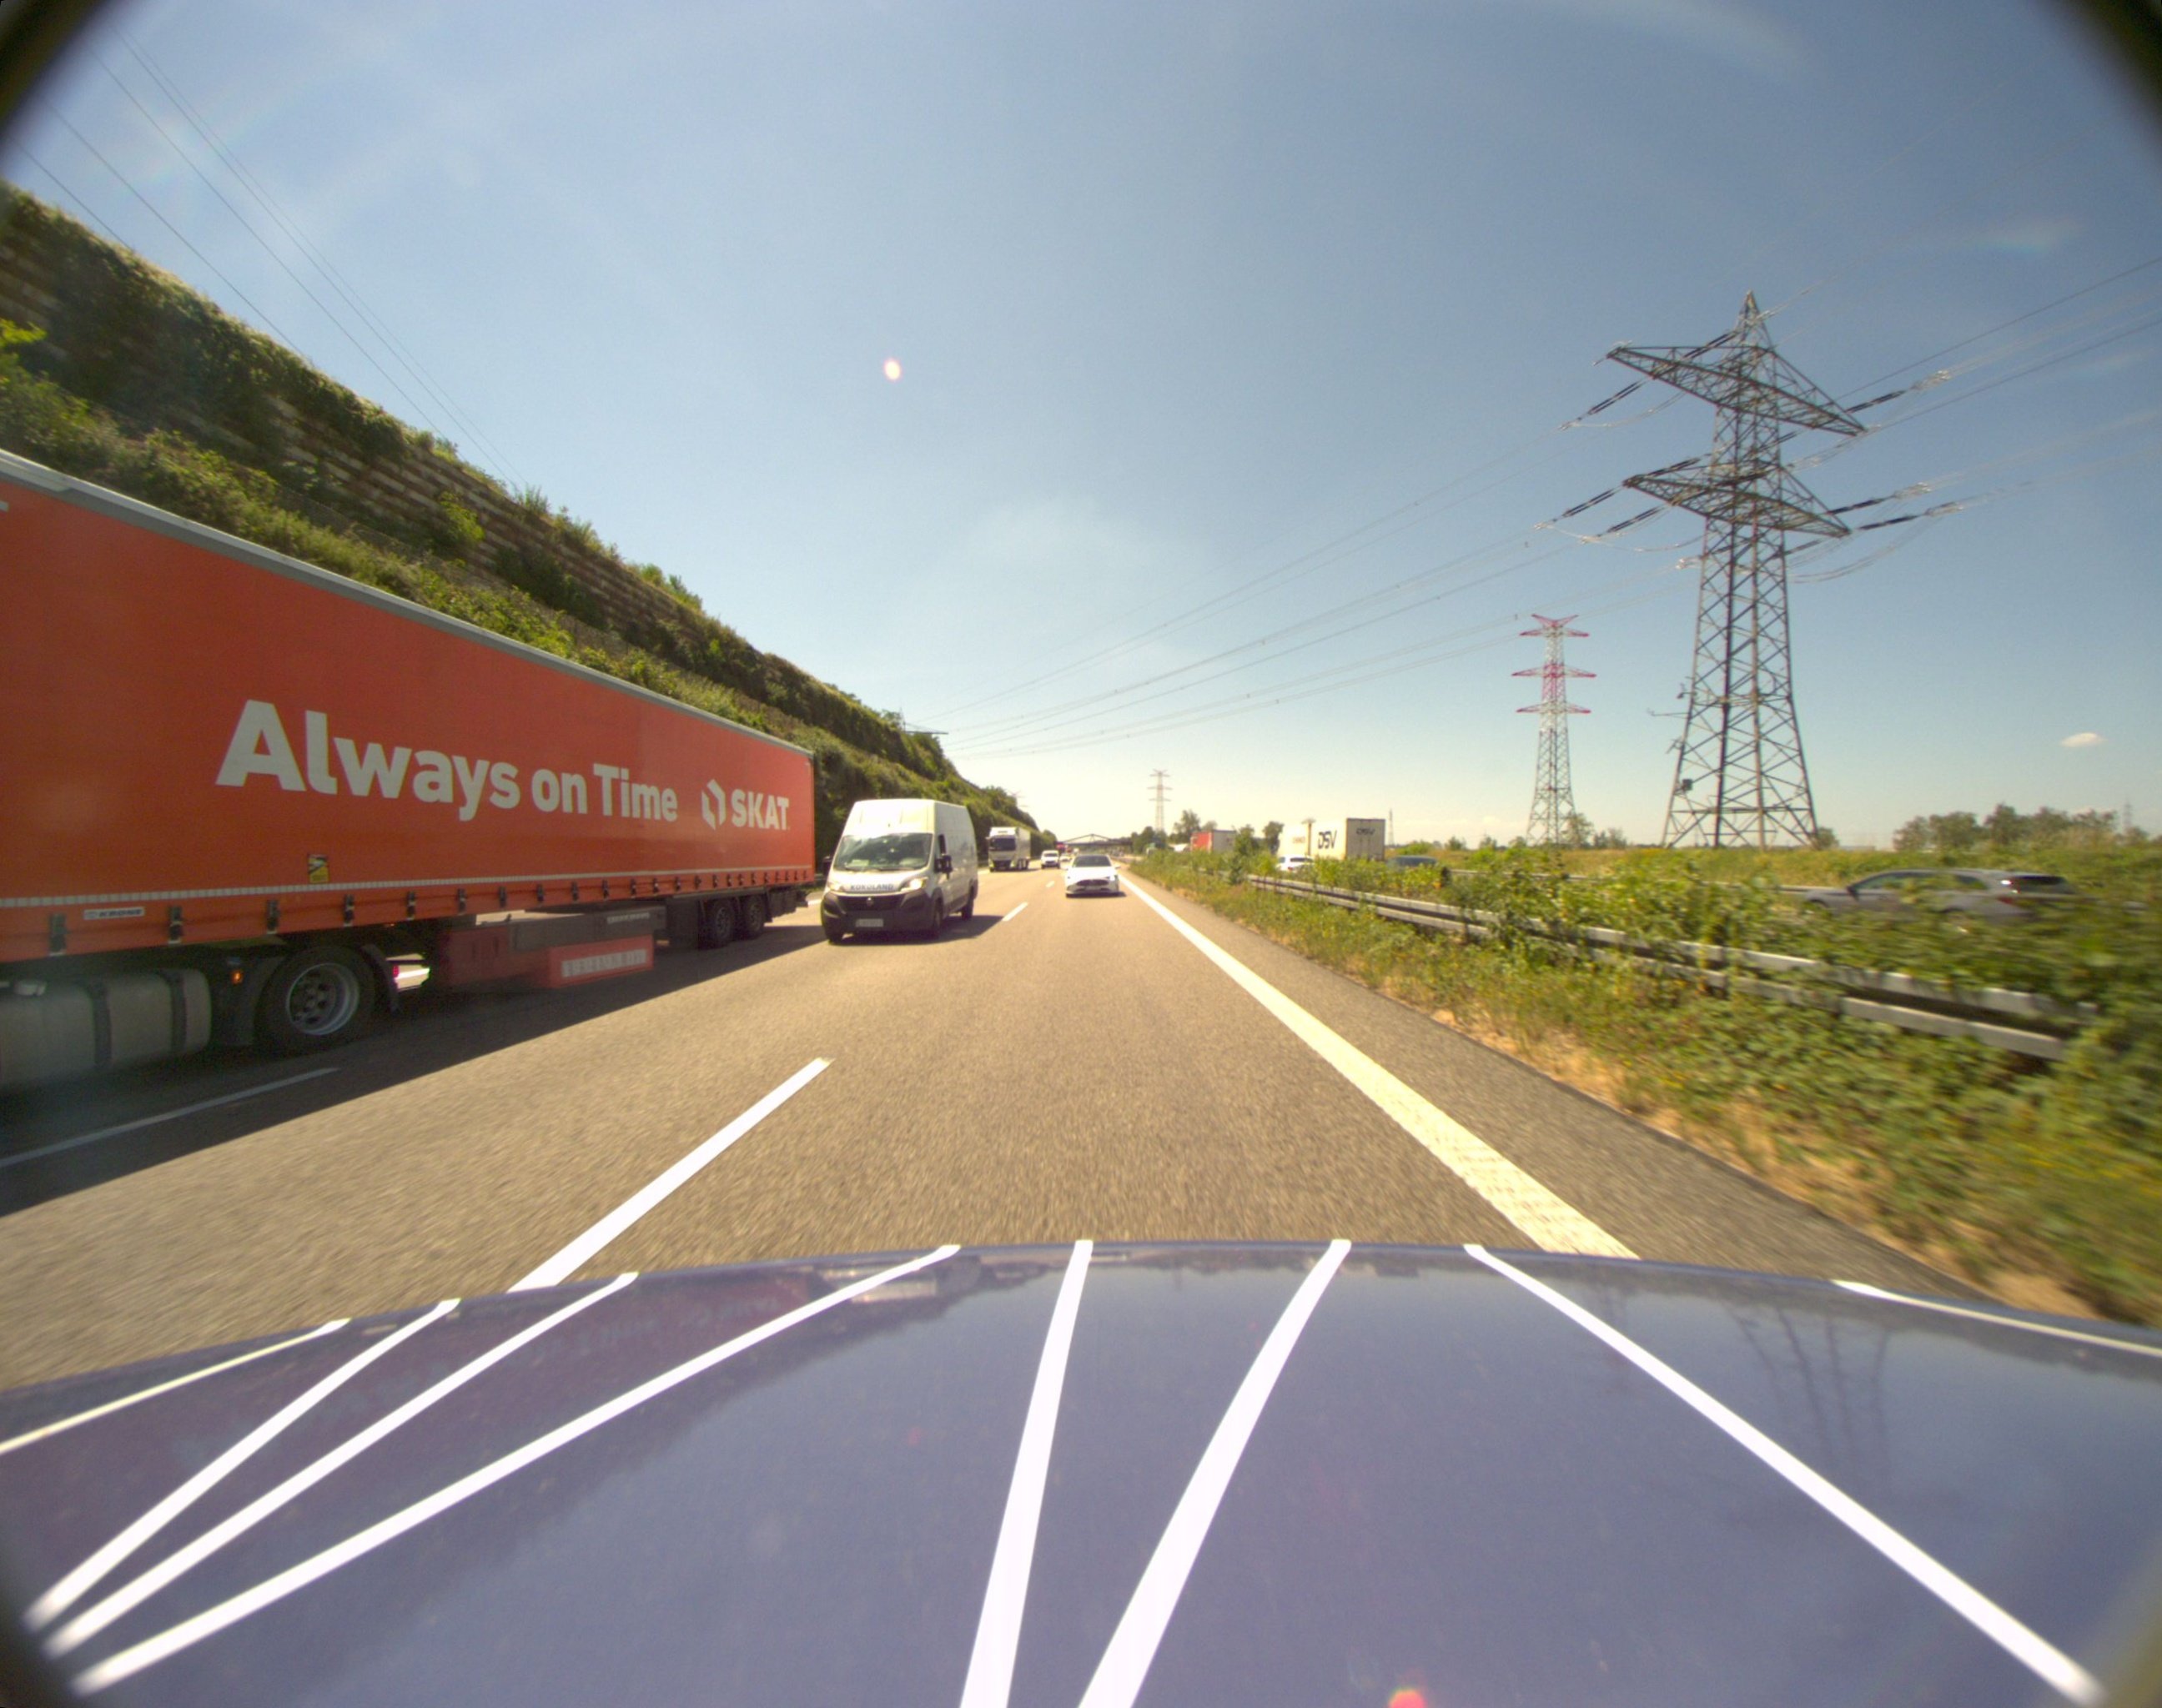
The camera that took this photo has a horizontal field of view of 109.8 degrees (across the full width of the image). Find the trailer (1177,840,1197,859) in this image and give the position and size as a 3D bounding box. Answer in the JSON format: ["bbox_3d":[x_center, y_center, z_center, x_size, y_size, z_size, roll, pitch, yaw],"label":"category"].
[{"bbox_3d":[19.585,-0.848,140.956,2.422,3.352,11.563,0,0,2],"label":"trailer"}]

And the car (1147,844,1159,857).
[{"bbox_3d":[14.496,-0.692,152.534,1.998,2.423,6.030,0,1,2],"label":"car"}]

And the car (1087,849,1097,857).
[{"bbox_3d":[1.979,-0.191,135.608,1.784,1.475,3.999,0,0,-1],"label":"car"}]

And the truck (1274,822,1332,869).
[{"bbox_3d":[18.582,-0.678,63.989,2.842,3.729,6.848,0,0,0],"label":"truck"}]

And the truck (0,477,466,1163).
[{"bbox_3d":[-7.562,-0.187,4.337,2.624,3.969,6.526,-1,1,1],"label":"truck"}]

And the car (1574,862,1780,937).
[{"bbox_3d":[13.803,0.979,17.945,1.766,1.496,4.000,0,1,1],"label":"car"}]

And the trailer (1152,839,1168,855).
[{"bbox_3d":[20.434,-1.762,196.755,2.676,4.061,13.914,0,0,0],"label":"trailer"}]

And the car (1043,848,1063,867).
[{"bbox_3d":[-2.762,0.304,75.699,1.784,1.783,4.000,-1,0,0],"label":"car"}]

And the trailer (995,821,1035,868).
[{"bbox_3d":[-6.535,-0.897,77.964,2.521,4.187,17.026,-1,0,0],"label":"trailer"}]

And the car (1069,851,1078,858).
[{"bbox_3d":[-1.594,0.016,161.684,1.784,1.475,3.999,-1,0,-1],"label":"car"}]

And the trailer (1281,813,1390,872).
[{"bbox_3d":[18.497,-0.806,56.919,2.861,3.800,15.977,0,0,1],"label":"trailer"}]

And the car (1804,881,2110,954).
[{"bbox_3d":[17.225,1.184,15.281,1.506,1.085,3.990,0,1,-1],"label":"car"}]

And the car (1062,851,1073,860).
[{"bbox_3d":[-2.182,0.253,125.251,1.784,1.475,3.999,-1,0,-1],"label":"car"}]

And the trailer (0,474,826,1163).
[{"bbox_3d":[-7.467,-0.231,11.002,2.651,3.982,13.605,-1,0,1],"label":"trailer"}]

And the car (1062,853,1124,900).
[{"bbox_3d":[0.401,0.737,26.923,1.998,1.474,4.108,-1,0,0],"label":"car"}]

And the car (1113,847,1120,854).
[{"bbox_3d":[12.204,-1.228,258.526,2.053,2.424,6.068,1,0,0],"label":"car"}]

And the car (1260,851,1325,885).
[{"bbox_3d":[10.222,0.629,37.133,1.753,1.482,4.965,0,1,-1],"label":"car"}]

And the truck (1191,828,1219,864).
[{"bbox_3d":[14.862,-0.956,91.389,2.606,4.187,5.909,0,1,1],"label":"truck"}]

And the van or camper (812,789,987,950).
[{"bbox_3d":[-3.566,0.248,16.552,2.102,2.753,6.756,-1,0,0],"label":"van or camper"}]

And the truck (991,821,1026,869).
[{"bbox_3d":[-6.555,-0.806,69.251,2.514,4.196,6.255,0,1,1],"label":"truck"}]

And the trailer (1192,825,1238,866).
[{"bbox_3d":[14.843,-0.901,85.197,2.597,4.213,14.327,0,0,0],"label":"trailer"}]
